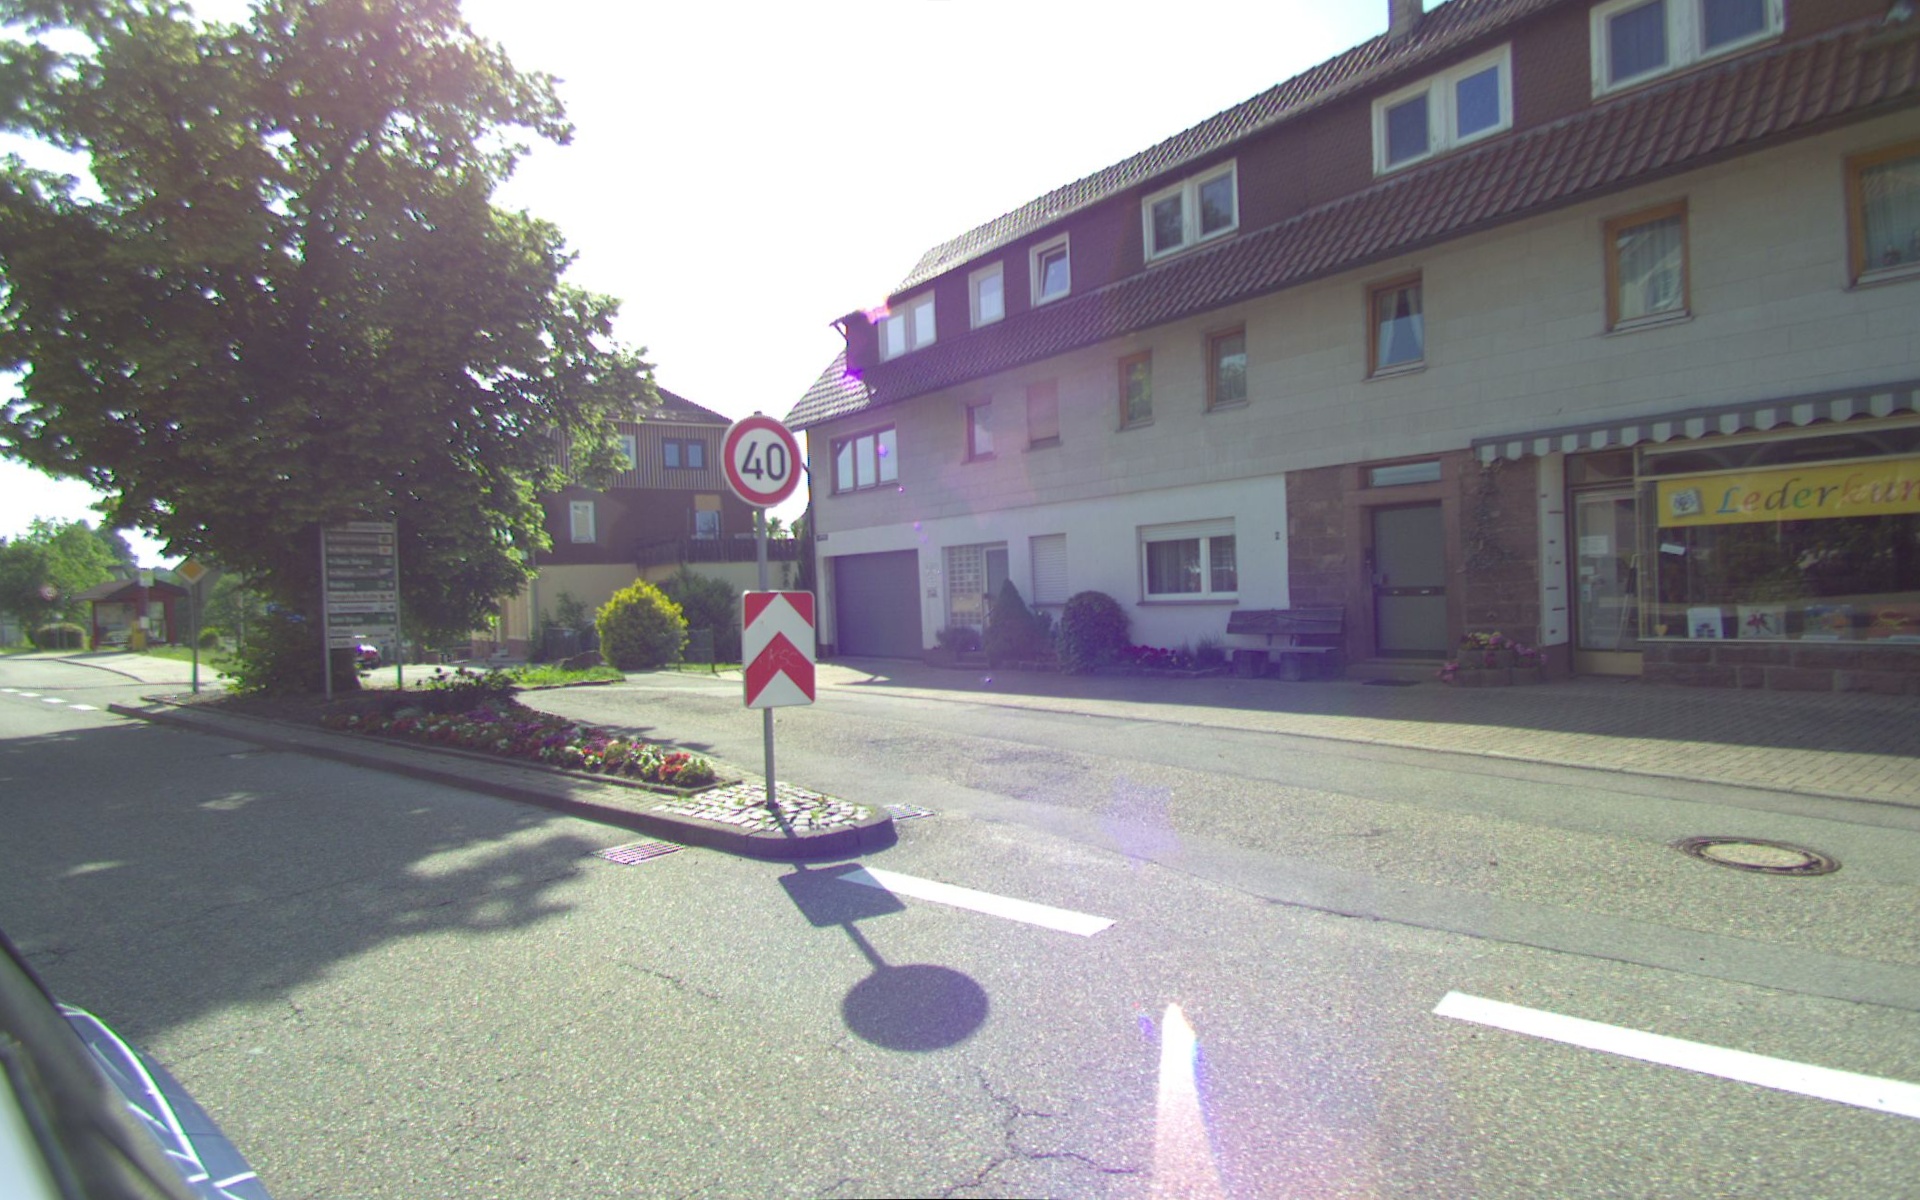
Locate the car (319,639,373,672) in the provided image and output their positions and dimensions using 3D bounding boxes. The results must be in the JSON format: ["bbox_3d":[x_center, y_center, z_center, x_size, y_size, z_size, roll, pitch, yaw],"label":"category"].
[{"bbox_3d":[-26.590,2.361,43.770,1.698,1.307,4.009,0,-2,-36],"label":"car"}]

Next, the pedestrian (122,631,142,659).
[{"bbox_3d":[-37.673,2.024,46.055,0.423,1.262,0.623,-2,-2,37],"label":"pedestrian"}]

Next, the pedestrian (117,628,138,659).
[{"bbox_3d":[-38.195,1.996,46.430,0.673,1.375,0.611,-4,-4,38],"label":"pedestrian"}]

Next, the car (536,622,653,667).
[{"bbox_3d":[-15.401,1.849,42.714,4.249,1.522,1.803,-3,2,-41],"label":"car"}]
